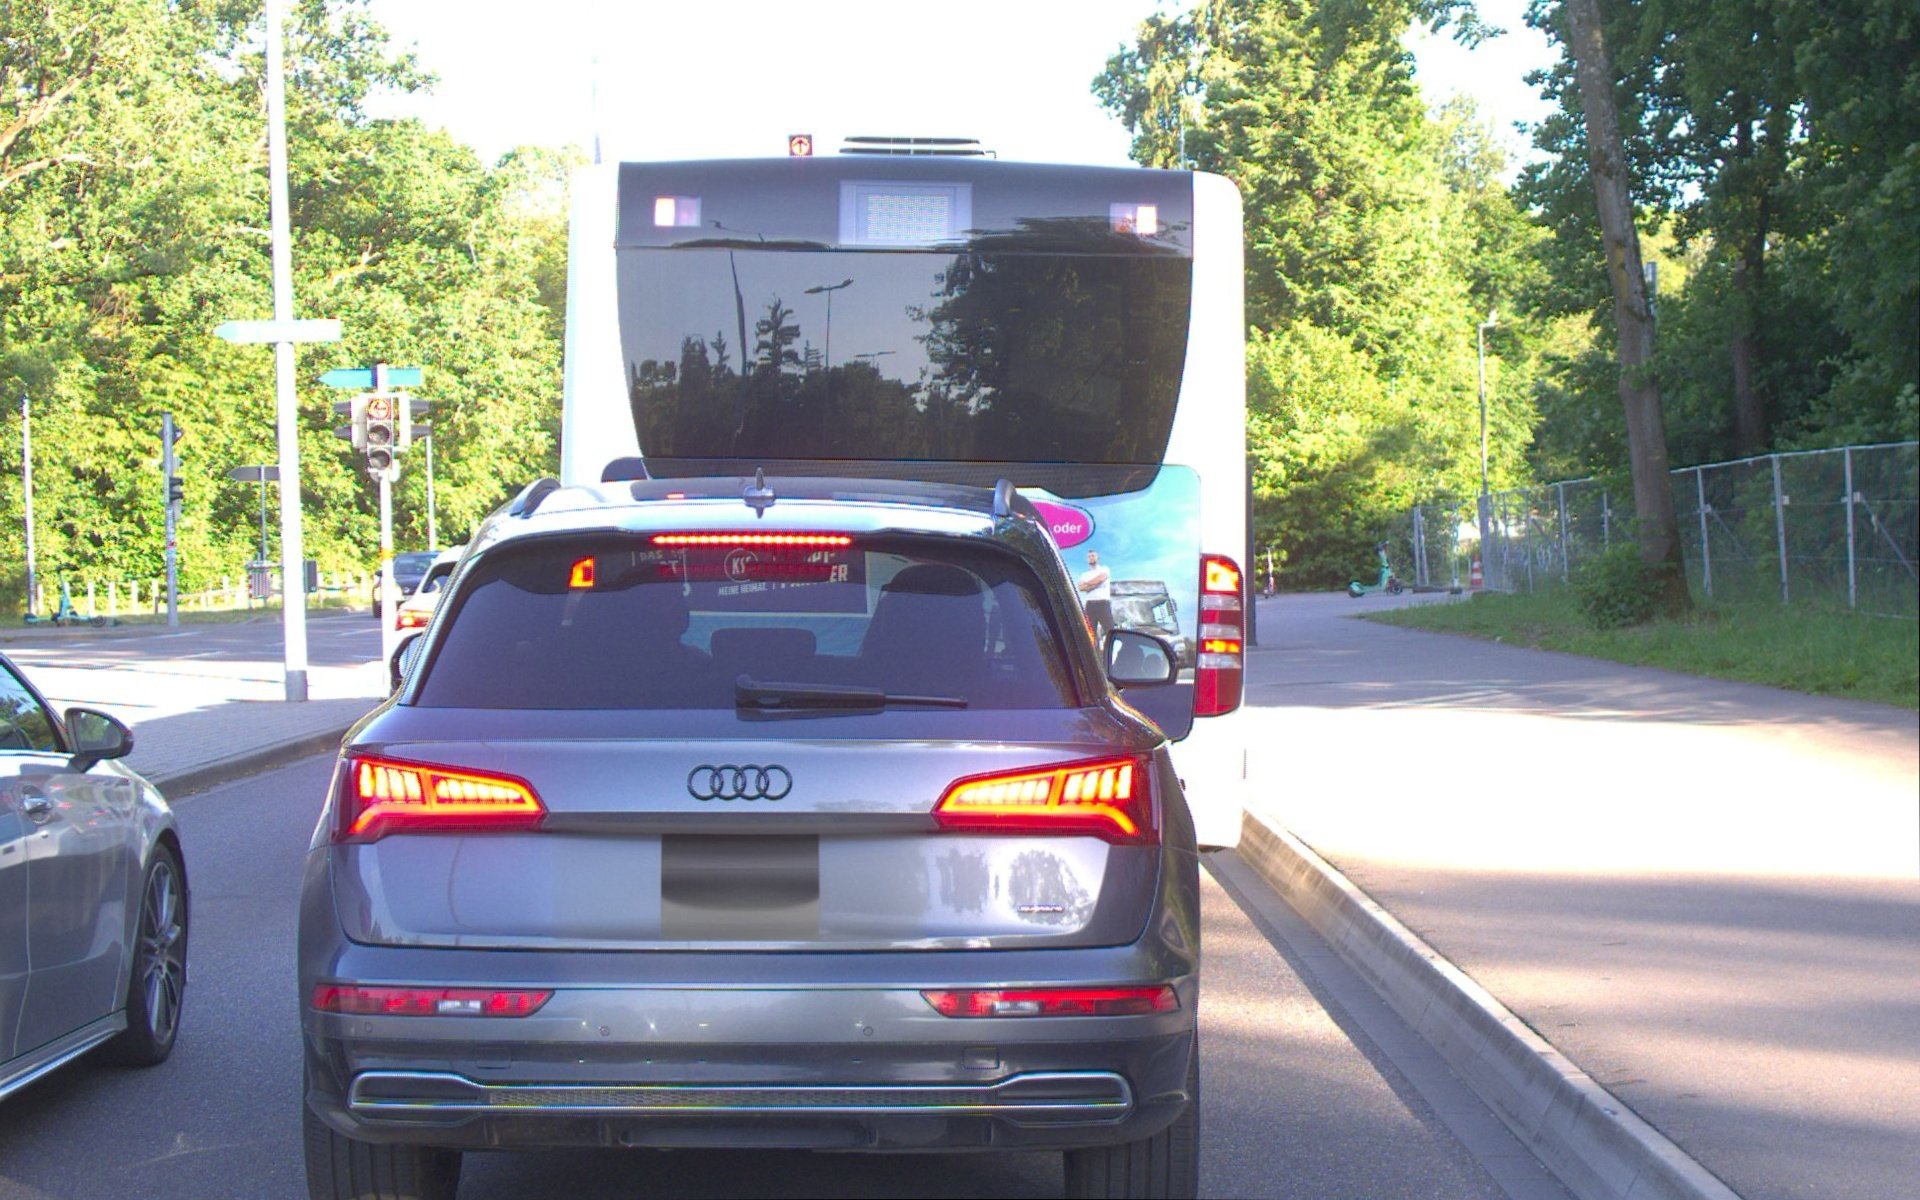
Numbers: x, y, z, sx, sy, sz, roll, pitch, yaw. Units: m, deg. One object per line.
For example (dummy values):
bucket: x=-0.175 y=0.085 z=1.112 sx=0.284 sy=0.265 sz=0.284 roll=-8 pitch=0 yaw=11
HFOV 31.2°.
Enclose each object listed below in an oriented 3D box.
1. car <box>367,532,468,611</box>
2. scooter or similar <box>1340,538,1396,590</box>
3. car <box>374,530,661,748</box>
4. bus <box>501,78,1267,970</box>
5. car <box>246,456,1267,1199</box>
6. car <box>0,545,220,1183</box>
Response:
car: x=-12.175 y=-0.655 z=77.408 sx=1.993 sy=1.656 sz=4.001 roll=-2 pitch=1 yaw=-6
scooter or similar: x=9.253 y=-0.821 z=77.966 sx=1.184 sy=1.170 sz=0.659 roll=1 pitch=1 yaw=11
car: x=-3.463 y=0.248 z=27.542 sx=1.808 sy=1.567 sz=4.000 roll=1 pitch=2 yaw=-1
bus: x=-0.242 y=-0.349 z=15.148 sx=2.678 sy=3.131 sz=5.882 roll=1 pitch=2 yaw=1
car: x=-0.402 y=0.520 z=8.354 sx=1.868 sy=1.658 sz=4.000 roll=1 pitch=2 yaw=-1
car: x=-3.109 y=0.611 z=8.230 sx=1.785 sy=1.439 sz=4.278 roll=1 pitch=2 yaw=-1
